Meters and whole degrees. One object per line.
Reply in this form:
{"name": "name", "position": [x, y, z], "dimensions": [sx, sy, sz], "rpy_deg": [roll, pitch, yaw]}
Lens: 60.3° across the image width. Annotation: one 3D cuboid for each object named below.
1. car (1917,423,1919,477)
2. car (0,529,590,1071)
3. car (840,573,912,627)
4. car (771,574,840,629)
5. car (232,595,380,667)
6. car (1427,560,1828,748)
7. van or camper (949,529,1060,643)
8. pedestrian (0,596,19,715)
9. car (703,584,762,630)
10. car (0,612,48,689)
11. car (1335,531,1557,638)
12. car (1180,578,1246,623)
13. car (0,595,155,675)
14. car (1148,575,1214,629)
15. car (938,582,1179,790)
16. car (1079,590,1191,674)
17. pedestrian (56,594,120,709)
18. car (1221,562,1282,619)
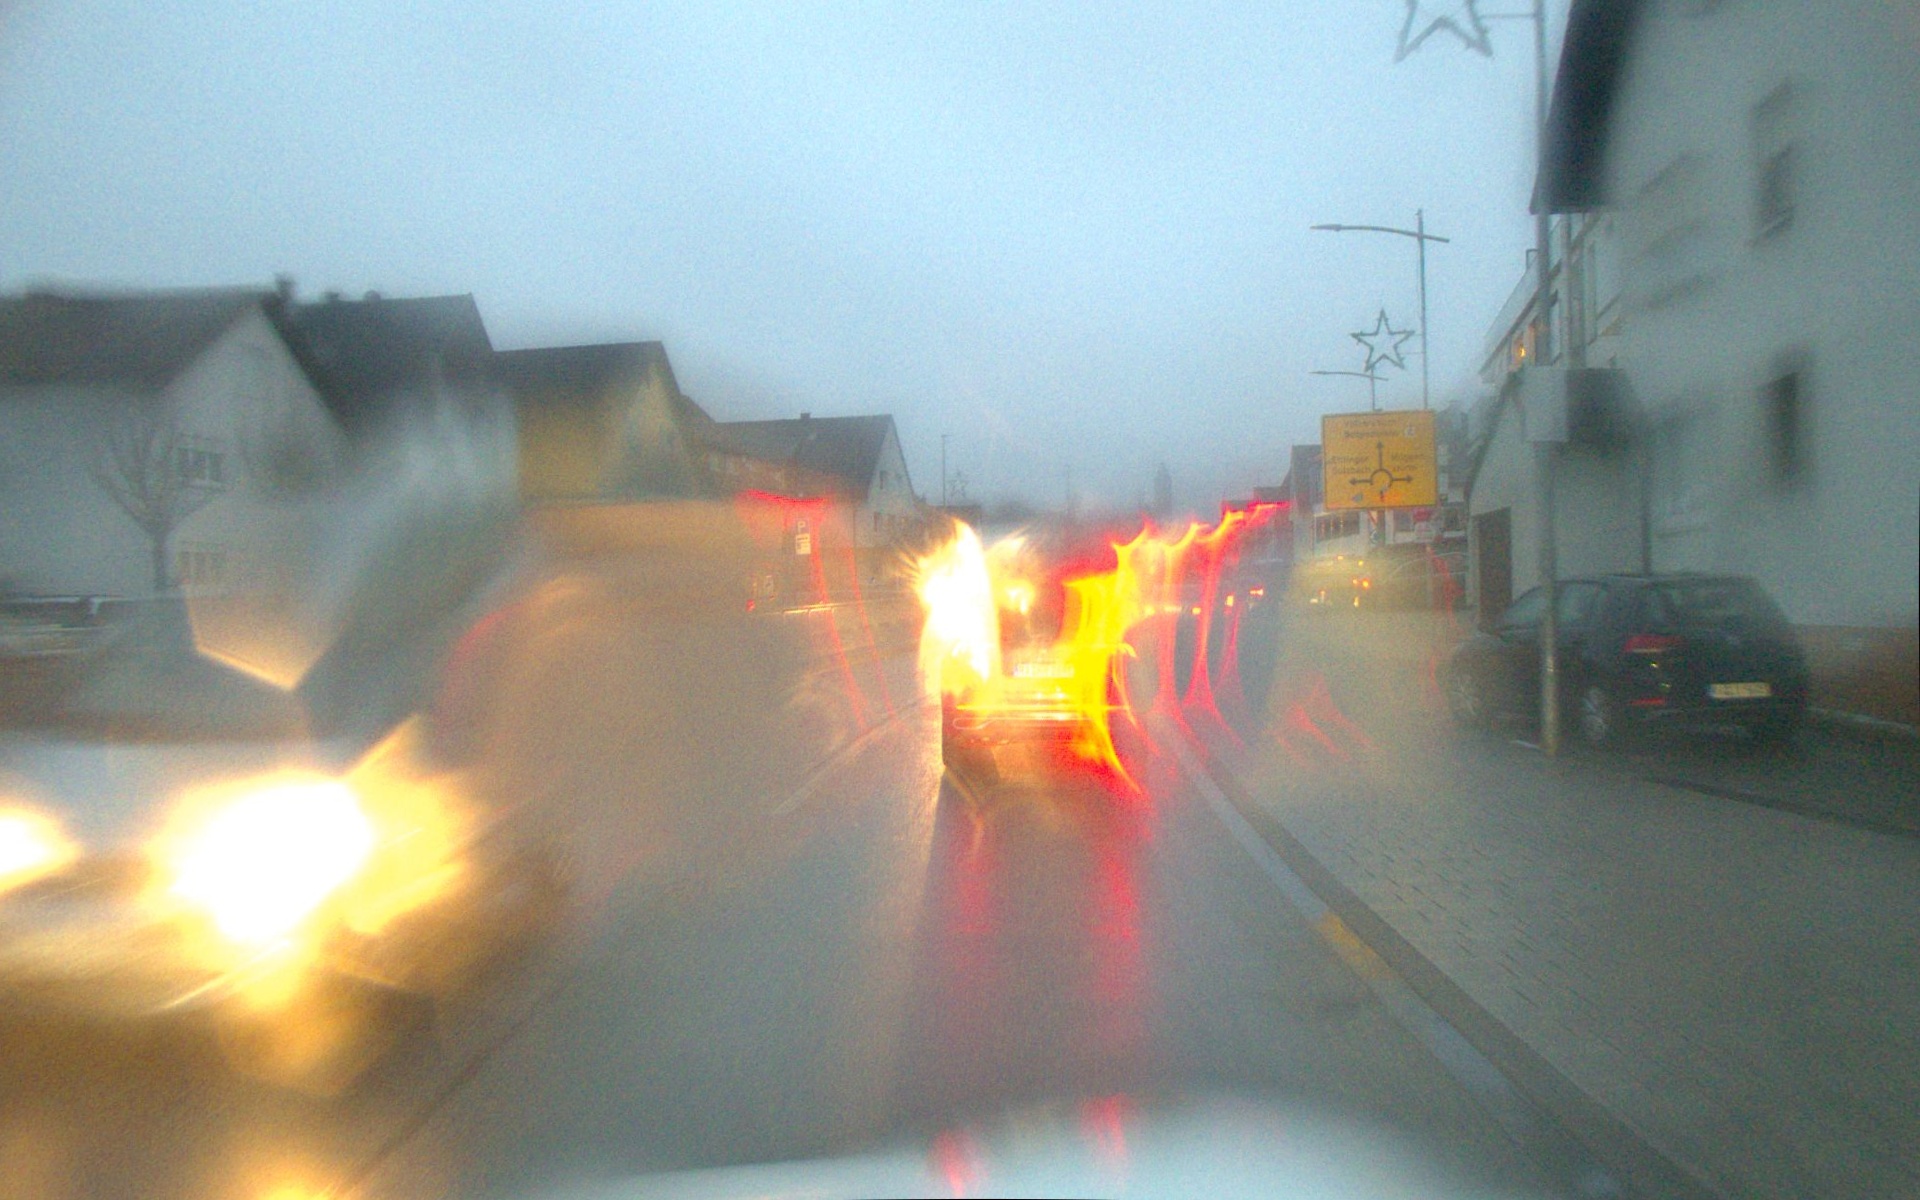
{"name": "car", "position": [2.713, 0.515, 1.216], "dimensions": [1.733, 1.813, 4.001], "rpy_deg": [-4, 0, 2]}
{"name": "car", "position": [-2.719, 0.607, 6.896], "dimensions": [1.629, 1.664, 3.550], "rpy_deg": [-1, 0, -2]}
{"name": "car", "position": [-3.268, -0.020, 63.740], "dimensions": [2.003, 1.959, 4.041], "rpy_deg": [-2, 1, -14]}
{"name": "car", "position": [-5.953, 0.047, 63.262], "dimensions": [2.003, 1.959, 4.041], "rpy_deg": [-2, 1, -14]}
{"name": "car", "position": [-17.305, 0.785, 43.975], "dimensions": [1.870, 1.712, 4.221], "rpy_deg": [-1, 1, 6]}
{"name": "car", "position": [5.955, 0.434, 15.313], "dimensions": [1.732, 1.418, 3.908], "rpy_deg": [-3, 0, -7]}
{"name": "van or camper", "position": [1.291, -0.387, 43.756], "dimensions": [2.193, 2.715, 6.561], "rpy_deg": [-2, 1, 7]}
{"name": "pedestrian", "position": [-15.118, 0.855, 25.252], "dimensions": [0.908, 1.816, 0.974], "rpy_deg": [0, 0, 4]}
{"name": "car", "position": [-8.775, 0.248, 63.688], "dimensions": [1.791, 1.641, 4.041], "rpy_deg": [-2, 1, -14]}
{"name": "car", "position": [-19.003, 0.971, 31.138], "dimensions": [1.451, 1.452, 3.462], "rpy_deg": [-1, 0, 6]}
{"name": "car", "position": [10.293, -0.329, 35.277], "dimensions": [4.091, 1.666, 1.805], "rpy_deg": [-8, 0, 5]}
{"name": "car", "position": [8.698, -0.013, 56.719], "dimensions": [1.951, 1.416, 4.004], "rpy_deg": [-1, 1, 12]}
{"name": "car", "position": [-21.722, 0.844, 39.596], "dimensions": [3.903, 1.723, 1.865], "rpy_deg": [-3, 1, 4]}
{"name": "car", "position": [6.274, 0.030, 47.058], "dimensions": [1.776, 1.436, 4.004], "rpy_deg": [0, 1, 7]}
{"name": "car", "position": [0.766, 0.669, 15.428], "dimensions": [1.924, 1.622, 4.313], "rpy_deg": [0, 1, -1]}
{"name": "car", "position": [3.403, 0.561, 31.673], "dimensions": [1.646, 1.478, 4.003], "rpy_deg": [1, 0, 13]}
{"name": "pedestrian", "position": [-13.249, 0.773, 25.140], "dimensions": [0.649, 1.727, 0.542], "rpy_deg": [0, 0, 8]}
{"name": "car", "position": [11.627, -0.392, 66.226], "dimensions": [2.112, 2.025, 4.503], "rpy_deg": [-5, 0, 8]}
